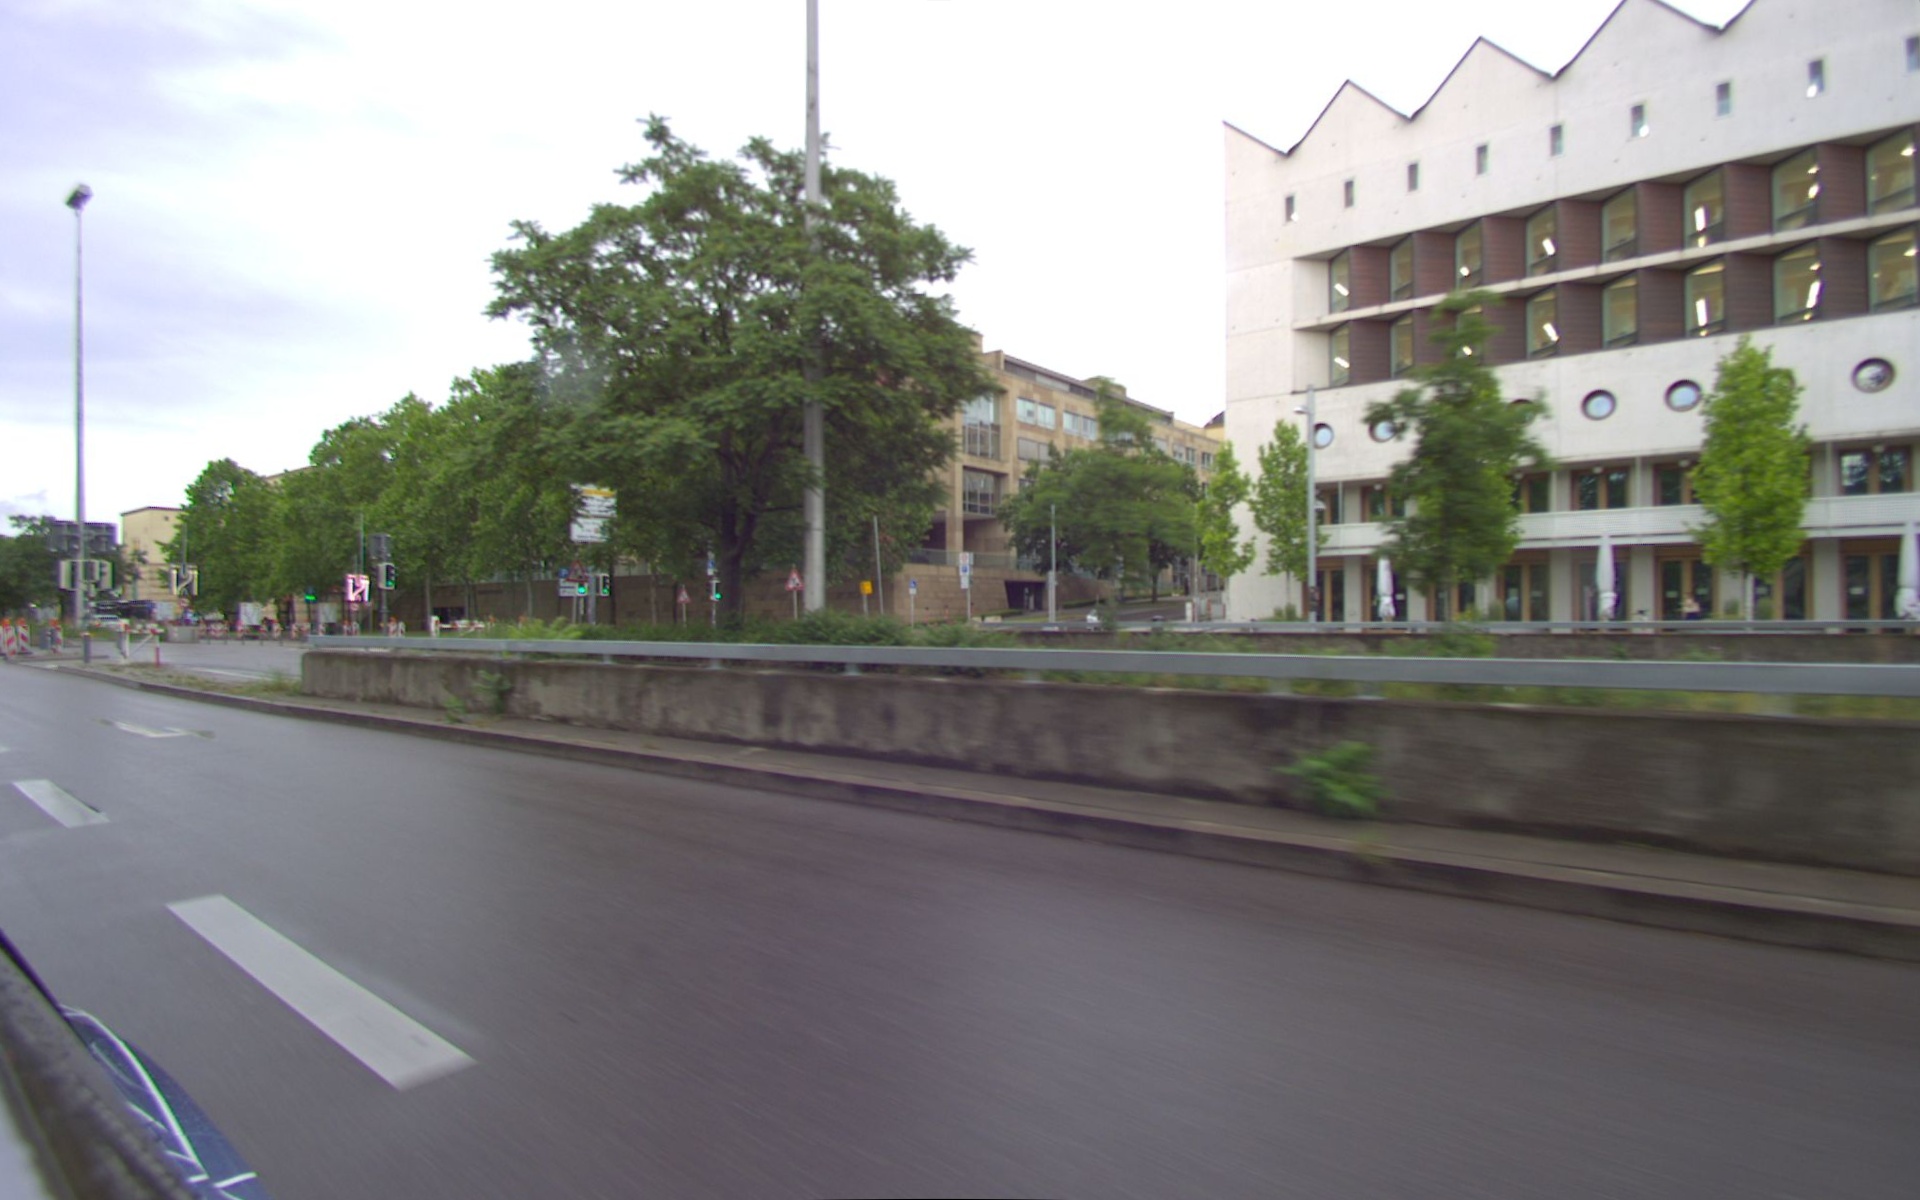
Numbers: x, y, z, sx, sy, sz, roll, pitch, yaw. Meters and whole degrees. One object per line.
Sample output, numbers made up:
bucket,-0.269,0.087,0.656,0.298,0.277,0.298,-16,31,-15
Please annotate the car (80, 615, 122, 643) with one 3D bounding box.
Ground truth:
car,-74.042,2.489,87.239,4.223,2.316,1.975,-1,0,38

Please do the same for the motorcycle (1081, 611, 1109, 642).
motorcycle,5.654,1.095,42.331,0.603,1.191,1.801,-1,0,25

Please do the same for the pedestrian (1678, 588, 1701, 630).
pedestrian,26.625,0.328,36.938,0.650,1.526,0.672,-1,0,38
